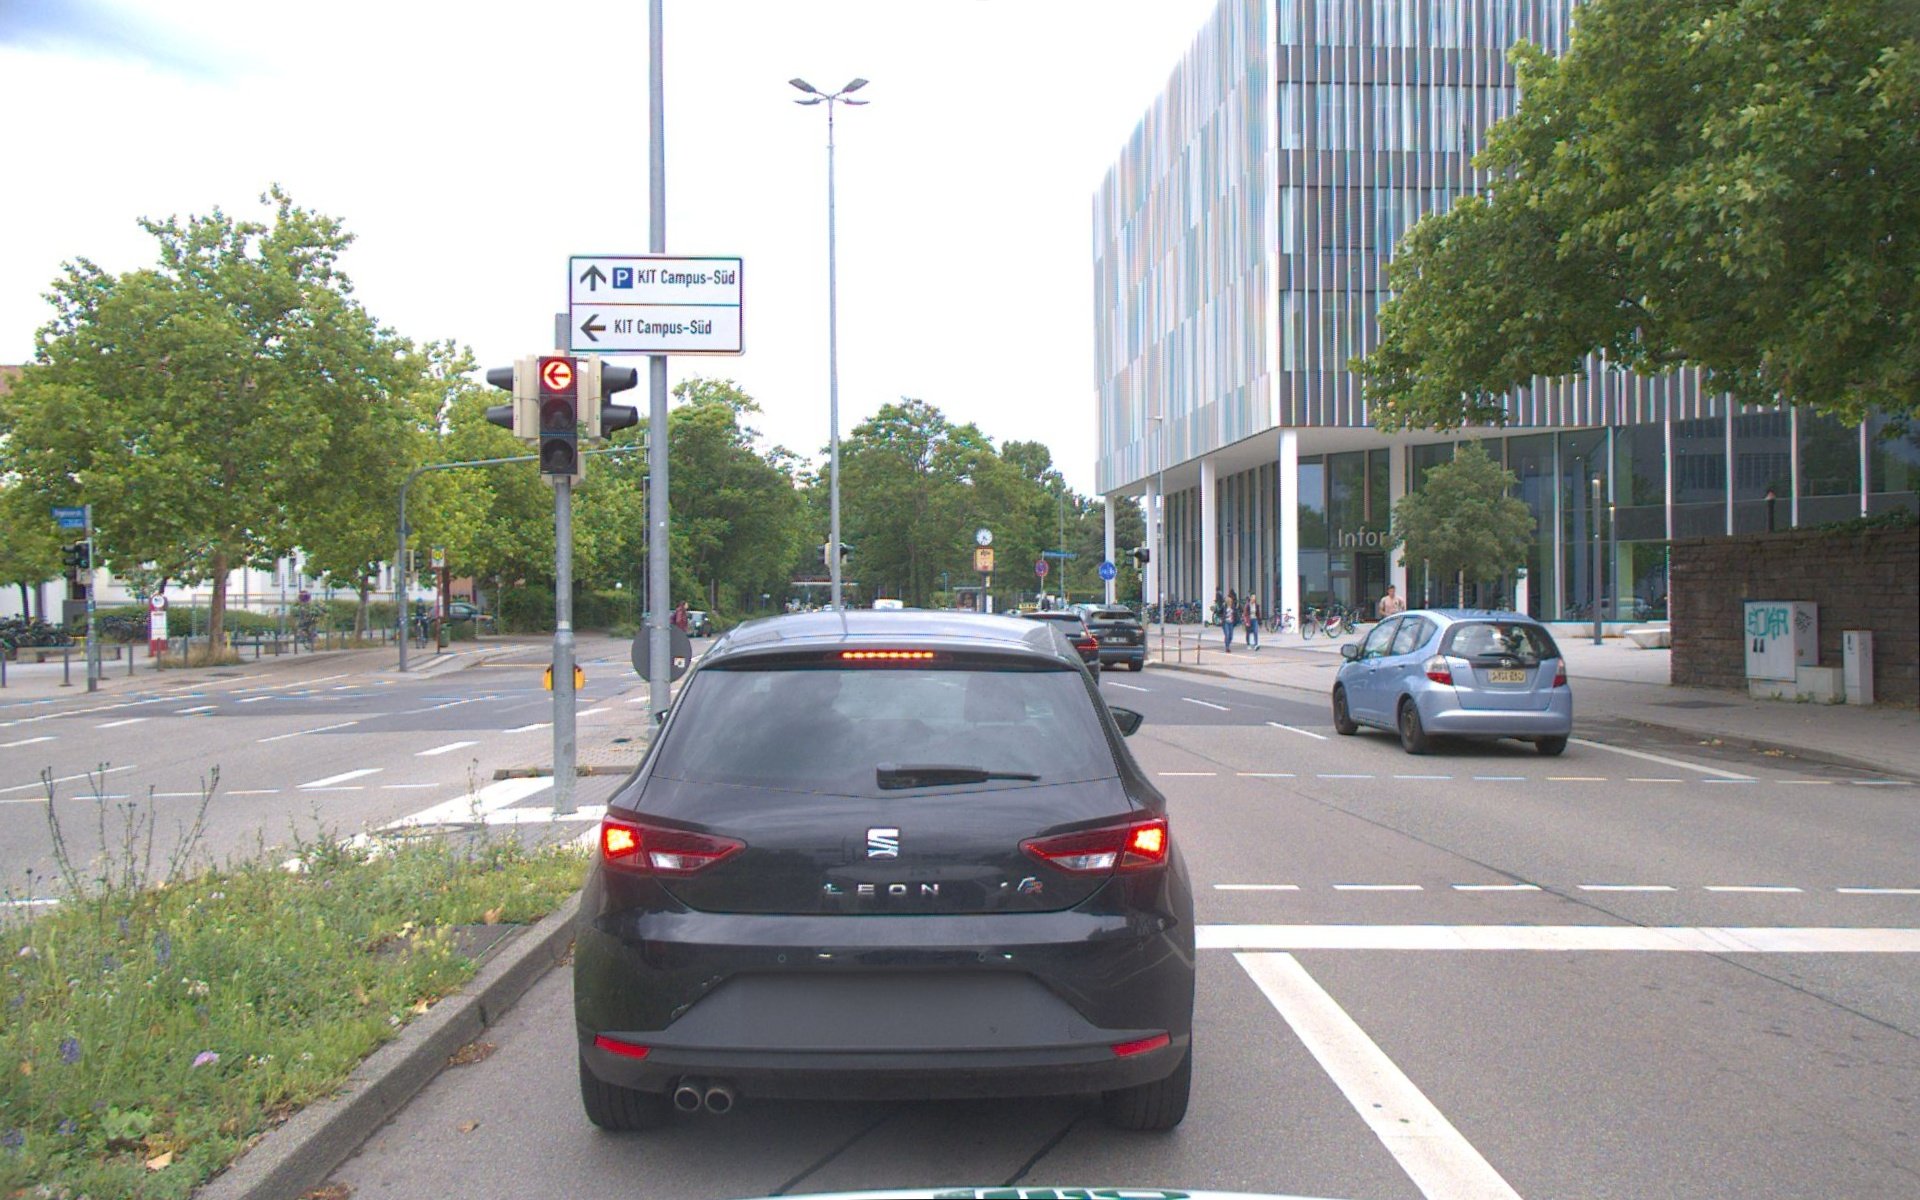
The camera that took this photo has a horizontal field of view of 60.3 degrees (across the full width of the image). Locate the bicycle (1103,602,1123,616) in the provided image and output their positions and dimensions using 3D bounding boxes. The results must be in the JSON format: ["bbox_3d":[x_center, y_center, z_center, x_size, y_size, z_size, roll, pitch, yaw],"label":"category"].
[{"bbox_3d":[9.913,0.597,107.001,1.218,0.837,0.479,2,-1,-23],"label":"bicycle"}]

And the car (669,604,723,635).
[{"bbox_3d":[-15.327,1.102,96.184,1.721,1.615,4.004,-2,1,12],"label":"car"}]

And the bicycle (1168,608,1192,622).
[{"bbox_3d":[11.580,0.797,87.047,1.213,0.717,0.489,-2,0,8],"label":"bicycle"}]

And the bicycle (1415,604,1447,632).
[{"bbox_3d":[17.491,0.659,61.438,0.682,0.963,1.981,-2,1,29],"label":"bicycle"}]

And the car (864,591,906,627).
[{"bbox_3d":[-4.460,0.517,98.307,1.930,2.007,4.333,1,0,-10],"label":"car"}]

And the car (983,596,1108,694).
[{"bbox_3d":[1.448,0.746,29.563,1.845,1.628,4.445,0,0,-2],"label":"car"}]

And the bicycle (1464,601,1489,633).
[{"bbox_3d":[18.711,0.601,59.877,0.792,1.074,1.950,-2,1,19],"label":"bicycle"}]

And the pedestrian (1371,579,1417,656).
[{"bbox_3d":[10.452,0.408,39.836,0.830,1.795,0.767,-2,0,-1],"label":"pedestrian"}]

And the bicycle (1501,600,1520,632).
[{"bbox_3d":[19.617,0.567,58.966,0.609,1.074,1.950,-2,1,19],"label":"bicycle"}]

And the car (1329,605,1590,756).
[{"bbox_3d":[5.379,0.805,18.280,1.633,1.492,3.657,0,0,-3],"label":"car"}]

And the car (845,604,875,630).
[{"bbox_3d":[-7.265,1.200,120.106,1.953,1.764,4.209,-2,1,-1],"label":"car"}]

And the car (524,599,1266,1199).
[{"bbox_3d":[-0.103,0.743,5.740,1.717,1.457,3.770,1,0,1],"label":"car"}]

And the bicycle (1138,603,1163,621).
[{"bbox_3d":[10.604,0.659,92.005,1.357,0.958,0.488,-1,0,6],"label":"bicycle"}]

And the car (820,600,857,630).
[{"bbox_3d":[-6.231,0.732,84.581,1.689,1.439,4.240,1,1,-6],"label":"car"}]

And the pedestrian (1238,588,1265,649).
[{"bbox_3d":[8.668,0.543,49.138,0.673,1.812,0.677,0,0,-1],"label":"pedestrian"}]

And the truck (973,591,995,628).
[{"bbox_3d":[1.574,0.613,108.677,1.291,2.282,3.401,-2,0,-1],"label":"truck"}]

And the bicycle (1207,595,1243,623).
[{"bbox_3d":[12.478,0.409,77.912,1.758,1.232,0.563,-2,0,-35],"label":"bicycle"}]

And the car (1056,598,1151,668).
[{"bbox_3d":[3.580,0.794,42.038,1.869,1.653,4.489,1,0,-2],"label":"car"}]

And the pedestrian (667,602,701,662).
[{"bbox_3d":[-7.719,0.891,46.309,0.858,1.614,0.542,-2,0,-8],"label":"pedestrian"}]

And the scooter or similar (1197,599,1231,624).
[{"bbox_3d":[12.069,0.538,78.483,1.655,1.126,0.493,-2,0,-33],"label":"scooter or similar"}]

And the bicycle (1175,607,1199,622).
[{"bbox_3d":[12.043,0.755,87.735,1.246,0.717,0.485,-2,0,6],"label":"bicycle"}]

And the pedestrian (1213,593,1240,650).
[{"bbox_3d":[7.899,0.633,49.099,0.673,1.668,0.632,1,0,-1],"label":"pedestrian"}]

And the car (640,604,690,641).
[{"bbox_3d":[-15.333,1.135,86.052,1.868,1.747,3.999,-2,1,-1],"label":"car"}]

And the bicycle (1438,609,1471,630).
[{"bbox_3d":[18.221,0.714,60.937,1.515,0.728,0.511,-3,1,-44],"label":"bicycle"}]

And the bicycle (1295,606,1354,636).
[{"bbox_3d":[12.422,0.704,56.373,1.860,0.914,0.693,-2,0,-22],"label":"bicycle"}]

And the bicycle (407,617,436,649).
[{"bbox_3d":[-18.408,1.117,56.563,0.478,1.023,1.589,1,1,-1],"label":"bicycle"}]

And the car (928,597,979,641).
[{"bbox_3d":[-0.212,0.757,63.296,1.787,1.578,4.527,1,-1,1],"label":"car"}]

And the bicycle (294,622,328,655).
[{"bbox_3d":[-23.221,1.368,59.195,0.596,1.079,2.041,-2,0,-7],"label":"bicycle"}]

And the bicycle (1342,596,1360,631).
[{"bbox_3d":[15.288,0.522,64.615,0.515,1.275,1.667,-2,0,17],"label":"bicycle"}]

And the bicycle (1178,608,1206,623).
[{"bbox_3d":[11.832,0.789,84.361,1.346,0.717,0.416,-2,0,2],"label":"bicycle"}]

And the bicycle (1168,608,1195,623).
[{"bbox_3d":[11.546,0.808,86.154,1.345,0.717,0.489,-2,0,8],"label":"bicycle"}]

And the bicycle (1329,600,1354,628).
[{"bbox_3d":[15.539,0.552,67.412,0.607,1.064,1.704,-2,1,25],"label":"bicycle"}]

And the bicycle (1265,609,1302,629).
[{"bbox_3d":[13.664,0.792,69.869,1.450,0.761,0.565,-2,0,-4],"label":"bicycle"}]

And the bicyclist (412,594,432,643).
[{"bbox_3d":[-18.402,0.626,56.549,0.481,1.653,0.588,1,1,-1],"label":"bicyclist"}]

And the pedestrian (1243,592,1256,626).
[{"bbox_3d":[12.053,0.384,68.903,0.462,1.385,0.446,-2,0,9],"label":"pedestrian"}]

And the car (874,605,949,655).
[{"bbox_3d":[-1.571,0.915,51.800,1.749,1.488,3.860,0,0,-11],"label":"car"}]
